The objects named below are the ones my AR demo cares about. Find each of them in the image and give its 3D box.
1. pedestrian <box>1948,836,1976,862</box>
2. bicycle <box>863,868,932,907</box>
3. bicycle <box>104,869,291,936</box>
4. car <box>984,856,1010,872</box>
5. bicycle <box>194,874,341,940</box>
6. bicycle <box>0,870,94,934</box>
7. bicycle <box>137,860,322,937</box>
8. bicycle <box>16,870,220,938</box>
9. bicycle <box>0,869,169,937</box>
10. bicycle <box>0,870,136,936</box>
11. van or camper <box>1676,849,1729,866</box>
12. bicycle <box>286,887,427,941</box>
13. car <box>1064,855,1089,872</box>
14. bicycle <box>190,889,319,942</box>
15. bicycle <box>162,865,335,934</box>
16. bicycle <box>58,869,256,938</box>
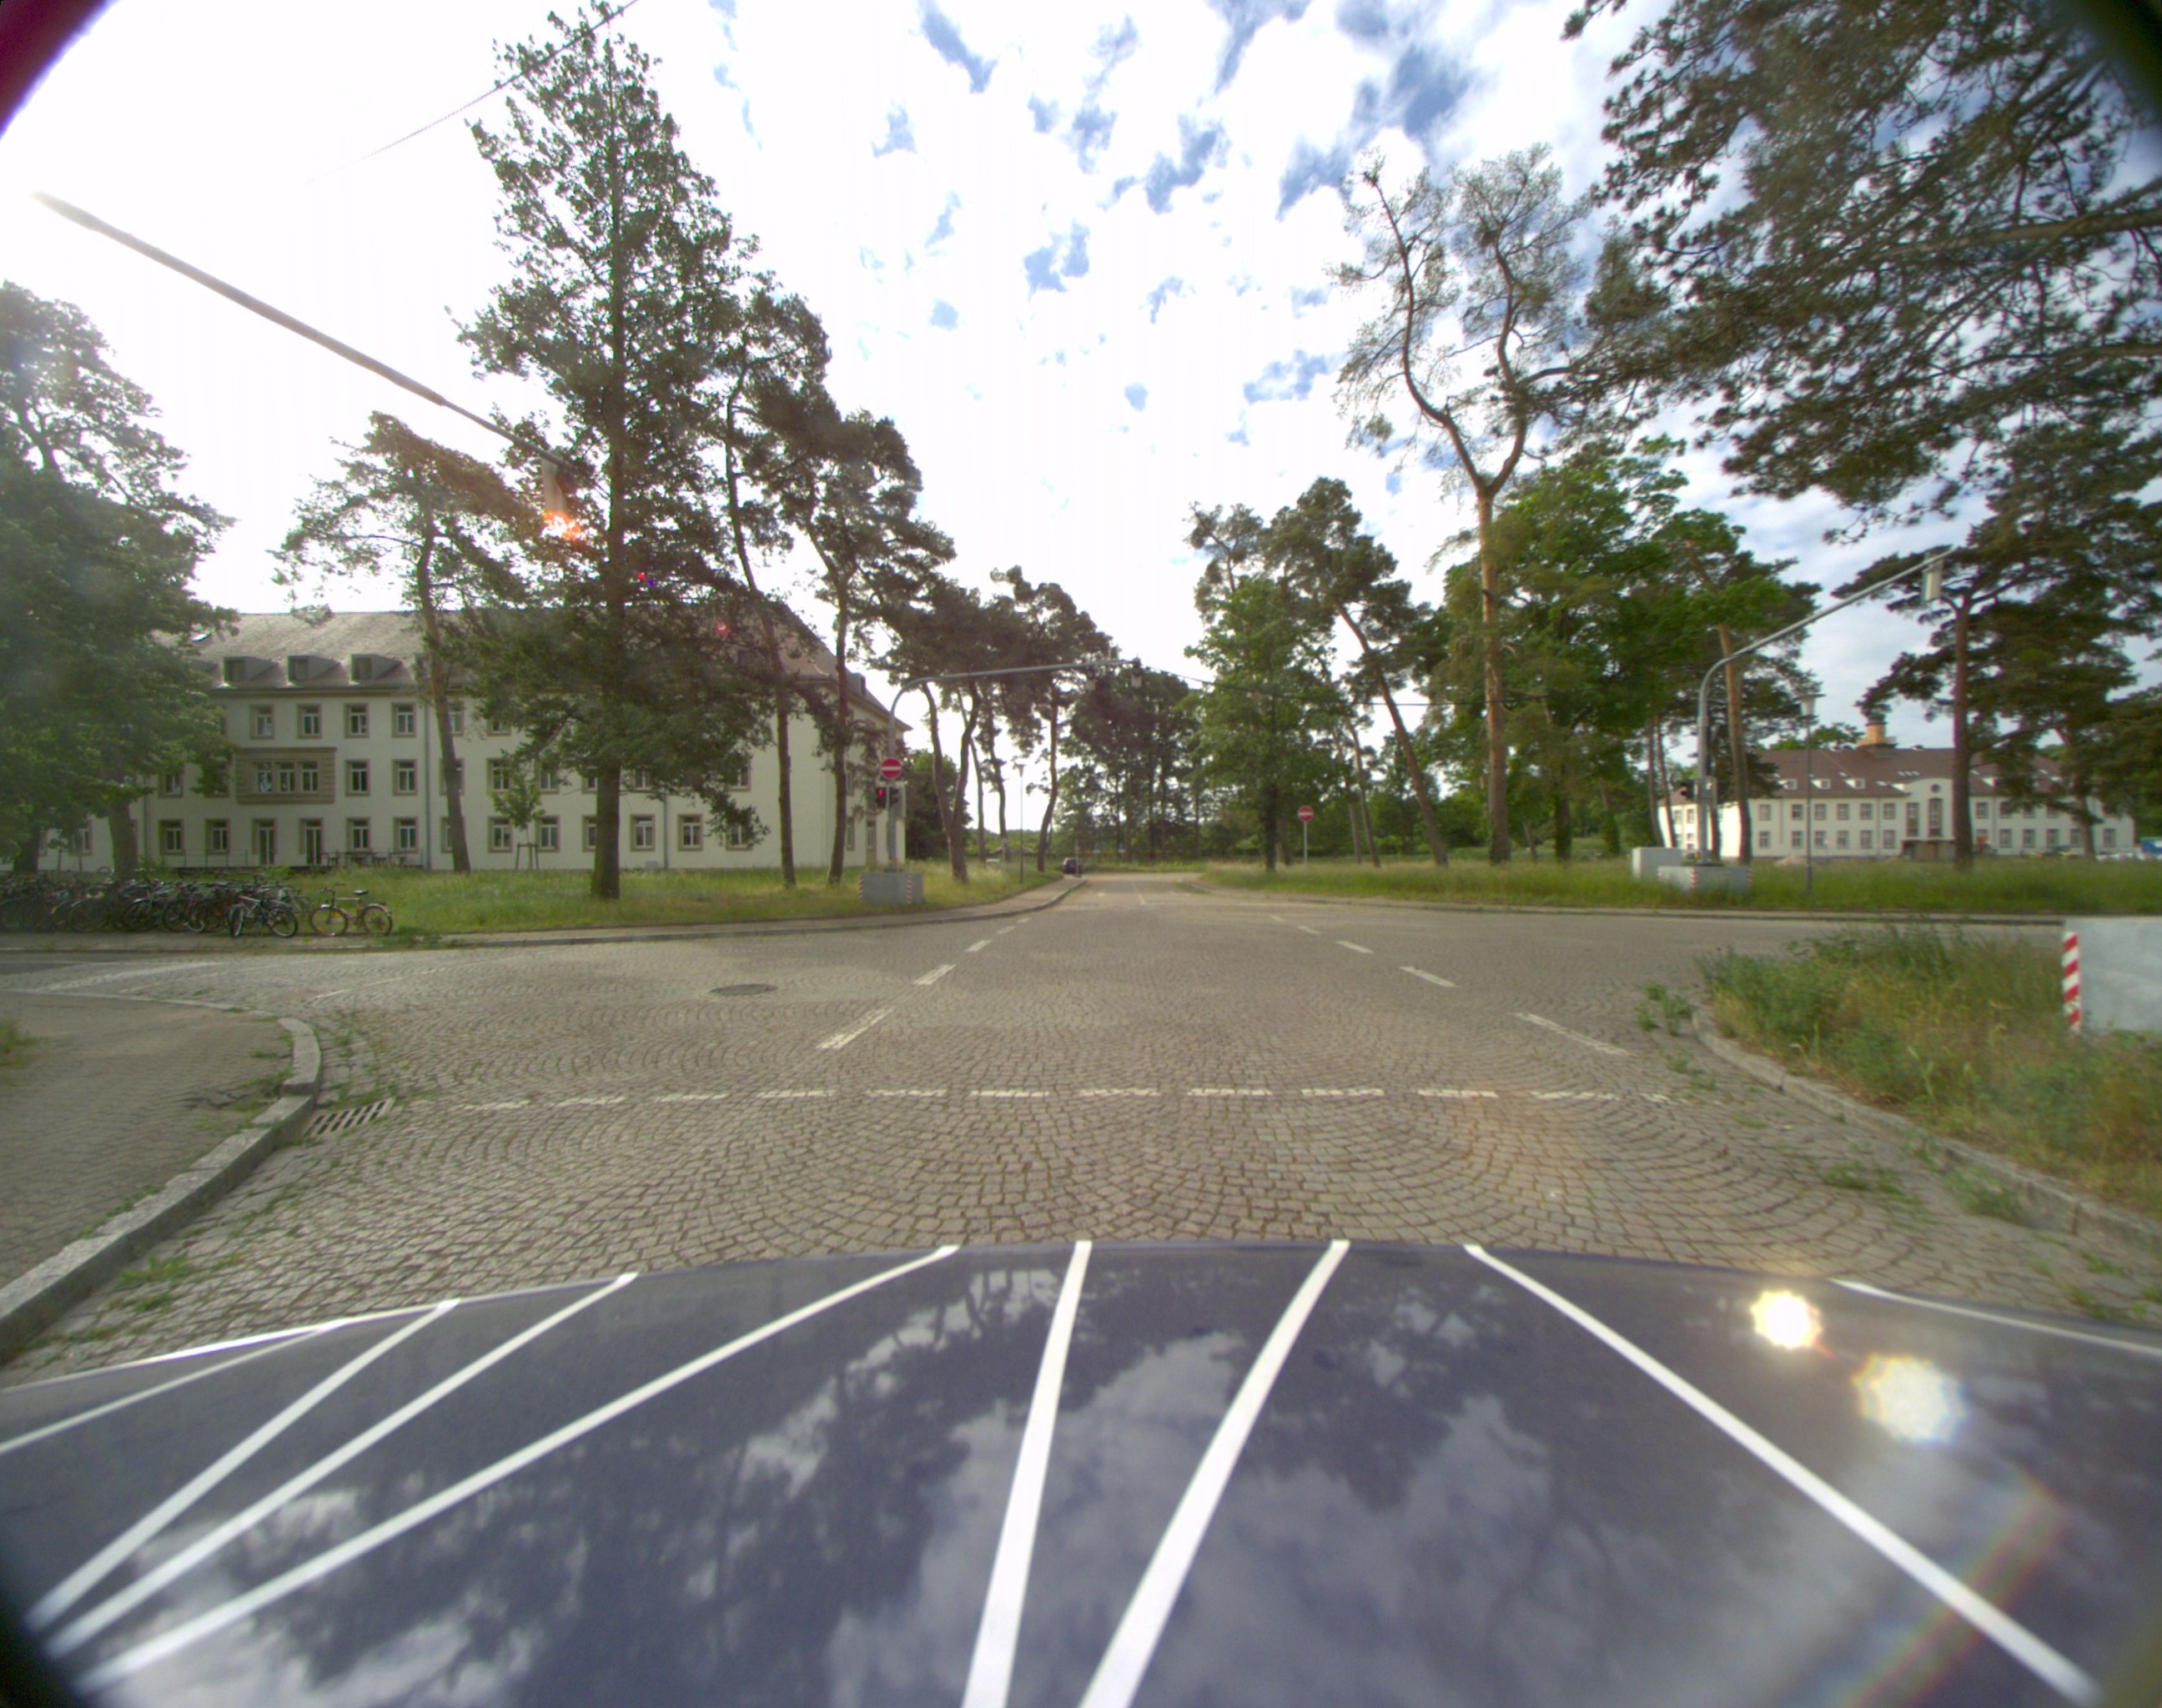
[{"bbox_3d":[76.330,-0.437,65.811,1.055,2.165,1.185,0,1,3],"label":"pedestrian"},{"bbox_3d":[-5.389,0.982,22.376,1.832,1.057,0.646,-1,4,0],"label":"bicycle"},{"bbox_3d":[-20.187,1.058,17.510,0.950,1.364,2.812,-1,0,3],"label":"bicycle"},{"bbox_3d":[-8.007,0.934,72.784,1.771,1.524,3.695,0,0,5],"label":"car"},{"bbox_3d":[-17.818,1.117,16.735,0.873,1.299,2.120,-1,0,3],"label":"bicycle"},{"bbox_3d":[-24.287,1.080,17.012,0.950,1.364,2.576,-1,0,2],"label":"bicycle"},{"bbox_3d":[-19.267,0.947,17.338,0.950,1.574,2.812,-1,0,3],"label":"bicycle"},{"bbox_3d":[-21.633,1.073,17.217,0.950,1.364,2.812,-1,0,3],"label":"bicycle"},{"bbox_3d":[-22.603,1.057,17.114,0.950,1.364,2.576,-1,0,2],"label":"bicycle"},{"bbox_3d":[-23.442,1.070,17.138,0.950,1.364,2.576,-1,0,2],"label":"bicycle"},{"bbox_3d":[86.346,0.448,105.732,2.463,2.293,6.128,0,0,1],"label":"van or camper"},{"bbox_3d":[-14.521,1.190,15.270,1.977,0.990,0.903,-1,0,2],"label":"bicycle"},{"bbox_3d":[-0.430,0.844,71.660,1.998,1.524,4.001,0,0,5],"label":"car"},{"bbox_3d":[-16.613,1.223,15.290,1.976,0.990,0.730,-1,0,7],"label":"bicycle"},{"bbox_3d":[-18.419,0.955,16.951,0.873,1.359,2.628,-1,0,3],"label":"bicycle"},{"bbox_3d":[-20.739,1.060,17.207,0.950,1.364,2.812,-1,0,3],"label":"bicycle"}]
